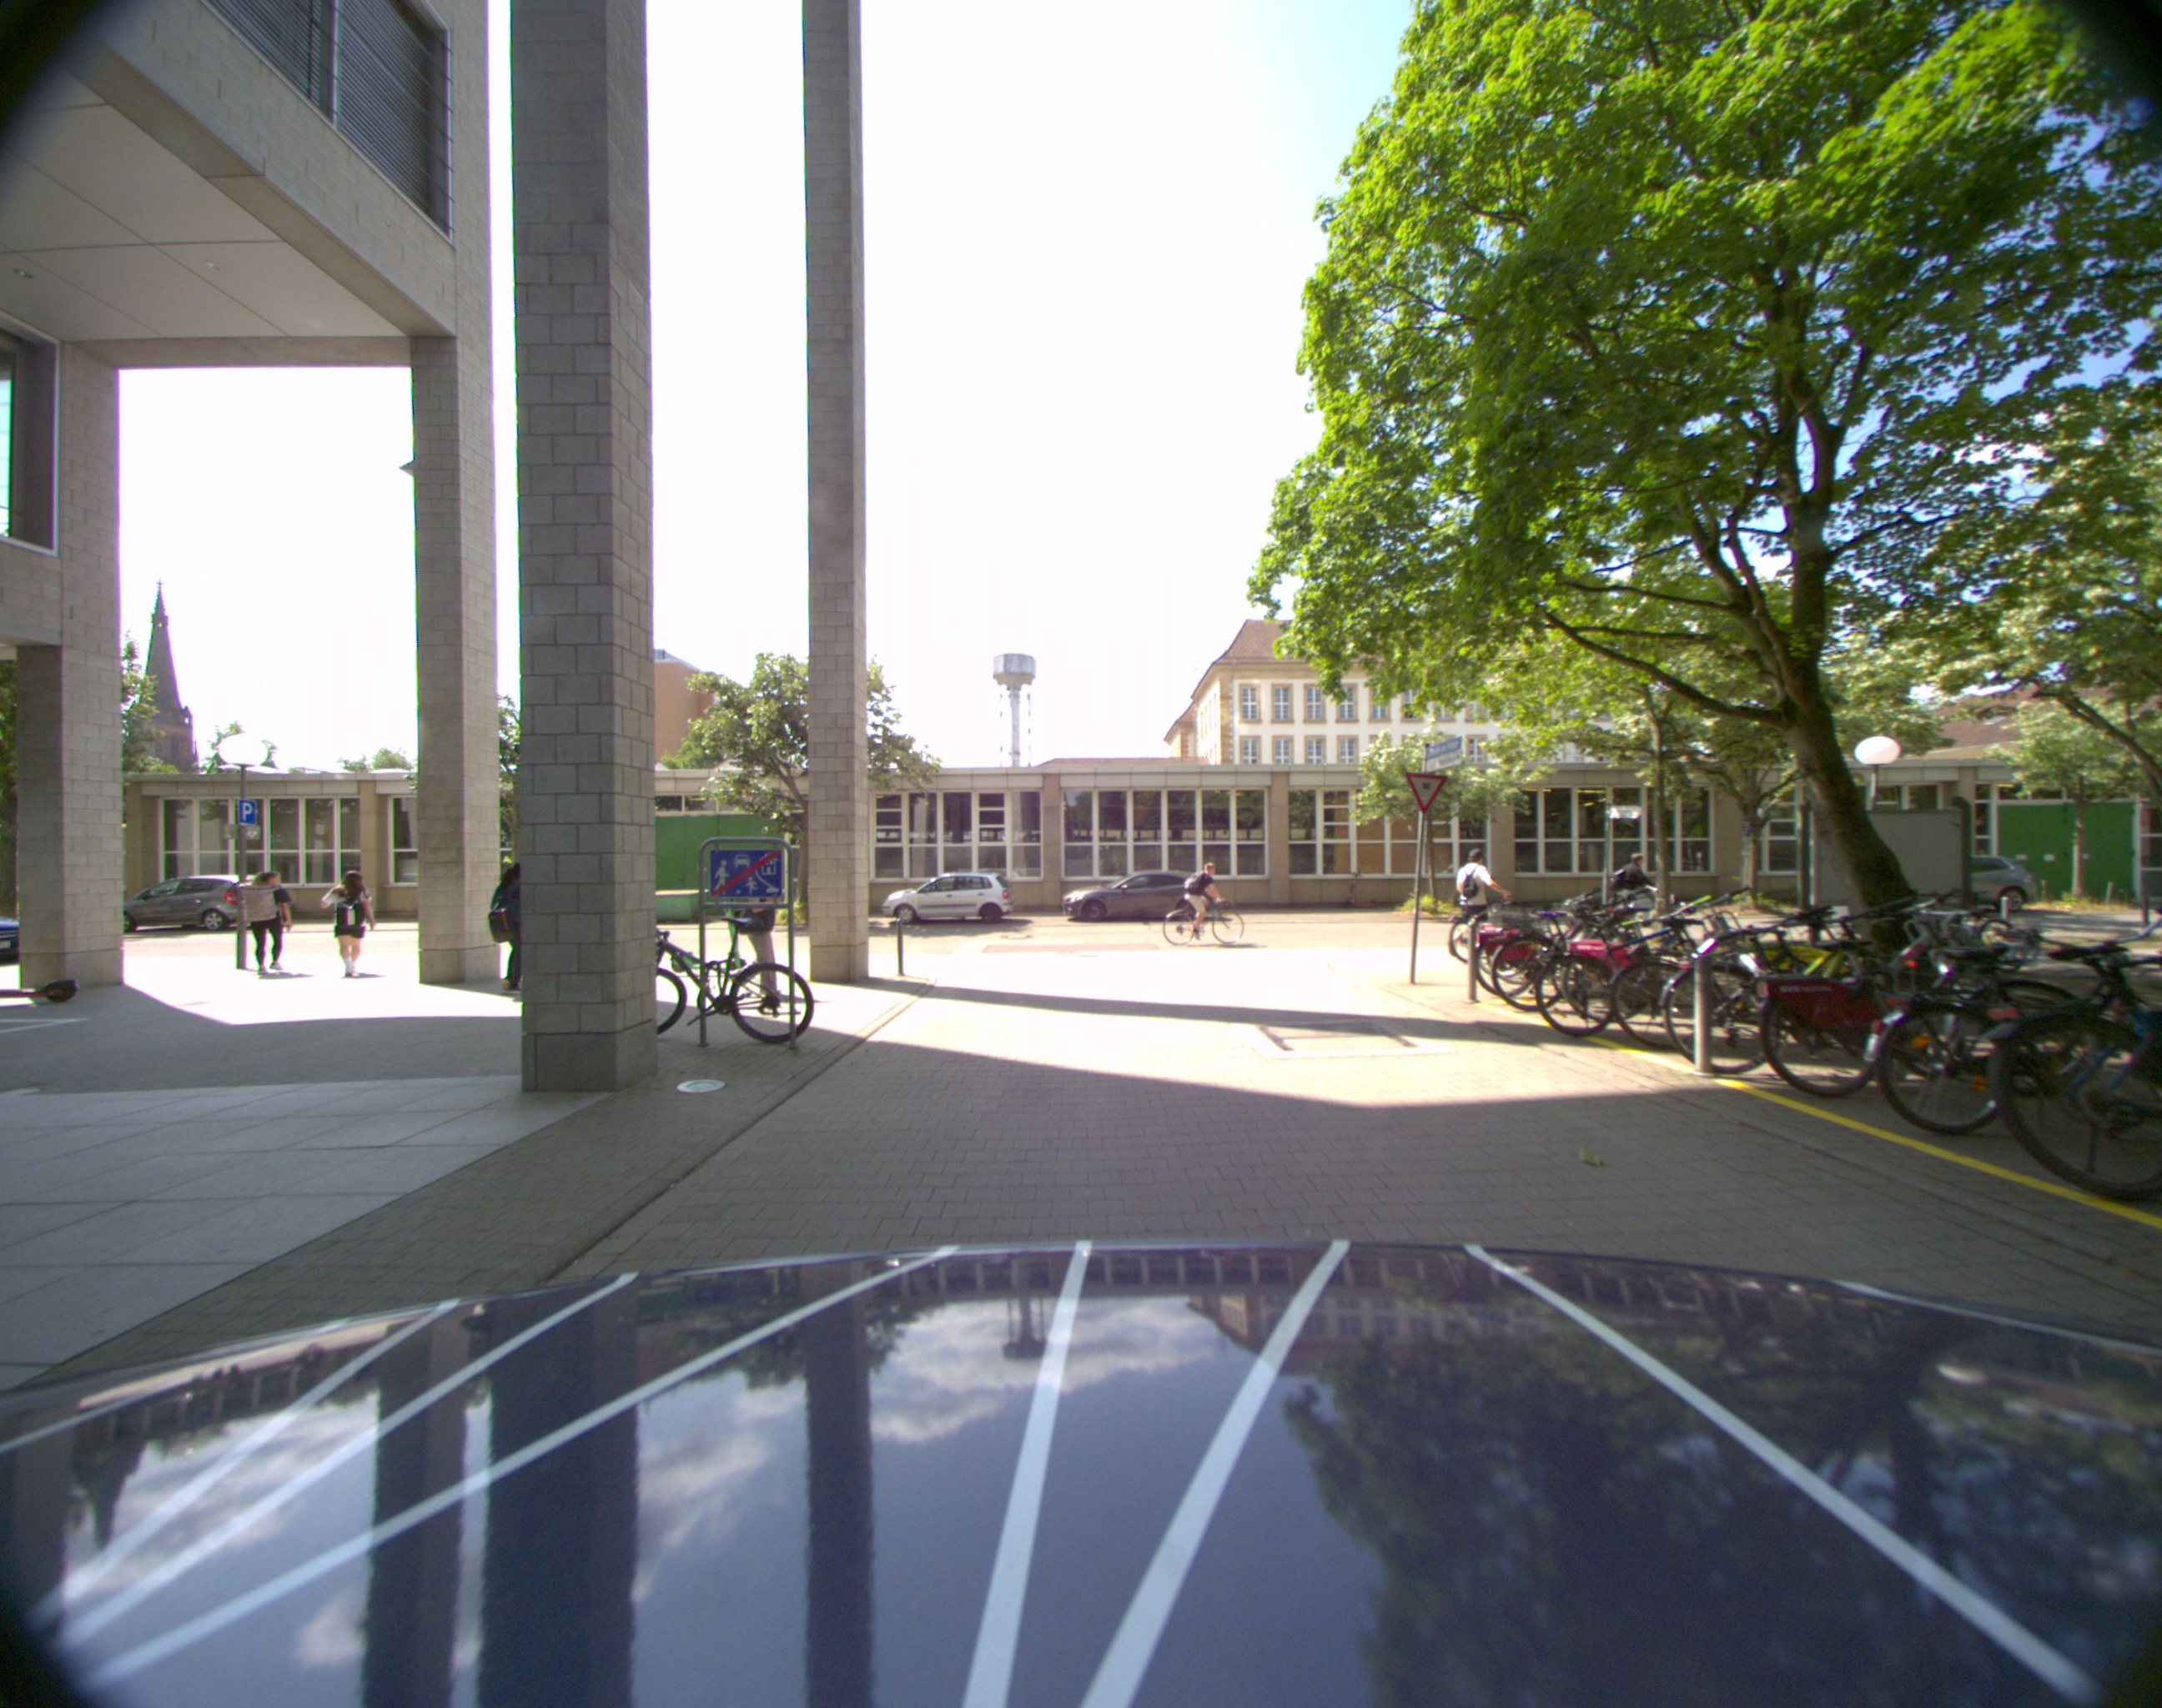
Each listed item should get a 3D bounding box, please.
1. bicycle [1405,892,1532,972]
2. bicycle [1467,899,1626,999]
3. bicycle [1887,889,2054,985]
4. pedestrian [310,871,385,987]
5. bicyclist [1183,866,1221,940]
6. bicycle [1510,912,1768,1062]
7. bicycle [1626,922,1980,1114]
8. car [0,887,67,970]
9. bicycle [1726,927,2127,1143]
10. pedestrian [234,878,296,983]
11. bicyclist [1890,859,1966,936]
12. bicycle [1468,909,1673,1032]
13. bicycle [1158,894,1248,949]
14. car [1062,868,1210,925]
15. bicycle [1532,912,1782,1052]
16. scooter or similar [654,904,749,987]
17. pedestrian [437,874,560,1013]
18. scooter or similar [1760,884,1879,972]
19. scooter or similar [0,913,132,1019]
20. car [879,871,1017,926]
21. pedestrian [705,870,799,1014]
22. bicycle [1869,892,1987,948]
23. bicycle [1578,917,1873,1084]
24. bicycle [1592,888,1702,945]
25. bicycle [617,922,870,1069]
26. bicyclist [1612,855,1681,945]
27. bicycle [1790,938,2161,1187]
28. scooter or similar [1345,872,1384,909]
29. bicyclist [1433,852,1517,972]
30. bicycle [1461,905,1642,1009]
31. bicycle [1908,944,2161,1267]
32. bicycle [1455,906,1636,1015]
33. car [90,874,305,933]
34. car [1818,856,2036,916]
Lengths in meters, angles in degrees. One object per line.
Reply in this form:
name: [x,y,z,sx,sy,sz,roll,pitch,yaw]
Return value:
bicycle: [6.368,1.240,12.489,1.888,1.165,0.804,-1,0,-23]
bicycle: [5.795,1.154,9.558,1.625,1.152,0.641,-2,-2,29]
bicycle: [11.220,1.034,9.592,1.839,1.101,0.393,-2,1,-6]
pedestrian: [-11.382,1.122,11.793,0.858,1.714,0.781,-1,0,43]
bicyclist: [2.553,1.020,16.089,0.727,1.526,0.605,0,2,2]
bicycle: [4.412,1.048,6.078,1.628,1.101,0.497,-2,1,5]
bicycle: [4.609,1.036,4.943,1.628,1.101,0.629,-2,1,5]
car: [-21.758,1.392,13.794,4.131,1.467,1.852,-1,0,-1]
bicycle: [4.780,1.014,4.372,1.628,1.101,0.506,-2,1,5]
pedestrian: [-12.973,1.176,12.083,0.824,1.589,0.591,-1,0,38]
bicyclist: [17.792,0.896,15.972,0.874,1.564,0.640,0,2,-3]
bicycle: [4.686,1.104,7.330,1.628,1.101,0.497,-1,-2,0]
bicycle: [2.570,1.427,16.094,1.829,1.102,0.605,0,2,2]
car: [1.586,1.239,22.665,4.208,1.467,1.653,-1,1,0]
bicycle: [4.897,1.070,6.552,1.627,1.101,0.497,-1,-2,12]
scooter or similar: [-5.462,1.316,10.963,1.157,1.144,0.444,-1,0,5]
pedestrian: [-6.938,1.026,9.107,0.820,1.565,0.880,-1,0,-6]
scooter or similar: [10.537,1.038,10.884,1.182,1.187,0.293,-1,0,36]
scooter or similar: [-12.910,1.375,9.394,1.431,1.216,0.358,0,0,-33]
car: [-3.858,1.283,22.553,3.776,1.468,1.653,-1,2,0]
pedestrian: [-3.933,1.020,9.140,0.883,1.645,0.702,-1,0,-10]
bicycle: [17.799,1.369,15.987,1.819,1.102,0.640,0,1,-4]
bicycle: [4.610,1.042,5.506,1.628,1.101,0.497,-2,1,5]
bicycle: [12.167,1.331,16.363,1.885,1.134,0.675,-1,1,-3]
bicycle: [-2.863,1.199,6.590,1.886,1.157,0.605,1,-1,-4]
bicyclist: [12.158,0.974,16.366,0.969,1.877,0.675,-1,1,-3]
bicycle: [4.661,1.017,3.825,1.628,1.101,0.497,-2,1,5]
scooter or similar: [9.512,1.215,25.504,1.157,1.219,0.290,-1,0,3]
bicyclist: [6.519,0.927,12.603,0.868,1.880,0.804,-3,1,-21]
bicycle: [5.507,1.167,8.982,1.741,1.101,0.591,-2,-2,31]
bicycle: [4.616,0.964,3.104,1.628,1.101,0.691,-2,1,5]
bicycle: [4.993,1.132,8.224,1.628,1.101,0.497,-1,-2,0]
car: [-26.219,1.442,22.663,4.131,1.569,1.851,-1,1,-1]
car: [25.078,0.927,22.628,4.536,1.608,1.838,-1,1,-2]
